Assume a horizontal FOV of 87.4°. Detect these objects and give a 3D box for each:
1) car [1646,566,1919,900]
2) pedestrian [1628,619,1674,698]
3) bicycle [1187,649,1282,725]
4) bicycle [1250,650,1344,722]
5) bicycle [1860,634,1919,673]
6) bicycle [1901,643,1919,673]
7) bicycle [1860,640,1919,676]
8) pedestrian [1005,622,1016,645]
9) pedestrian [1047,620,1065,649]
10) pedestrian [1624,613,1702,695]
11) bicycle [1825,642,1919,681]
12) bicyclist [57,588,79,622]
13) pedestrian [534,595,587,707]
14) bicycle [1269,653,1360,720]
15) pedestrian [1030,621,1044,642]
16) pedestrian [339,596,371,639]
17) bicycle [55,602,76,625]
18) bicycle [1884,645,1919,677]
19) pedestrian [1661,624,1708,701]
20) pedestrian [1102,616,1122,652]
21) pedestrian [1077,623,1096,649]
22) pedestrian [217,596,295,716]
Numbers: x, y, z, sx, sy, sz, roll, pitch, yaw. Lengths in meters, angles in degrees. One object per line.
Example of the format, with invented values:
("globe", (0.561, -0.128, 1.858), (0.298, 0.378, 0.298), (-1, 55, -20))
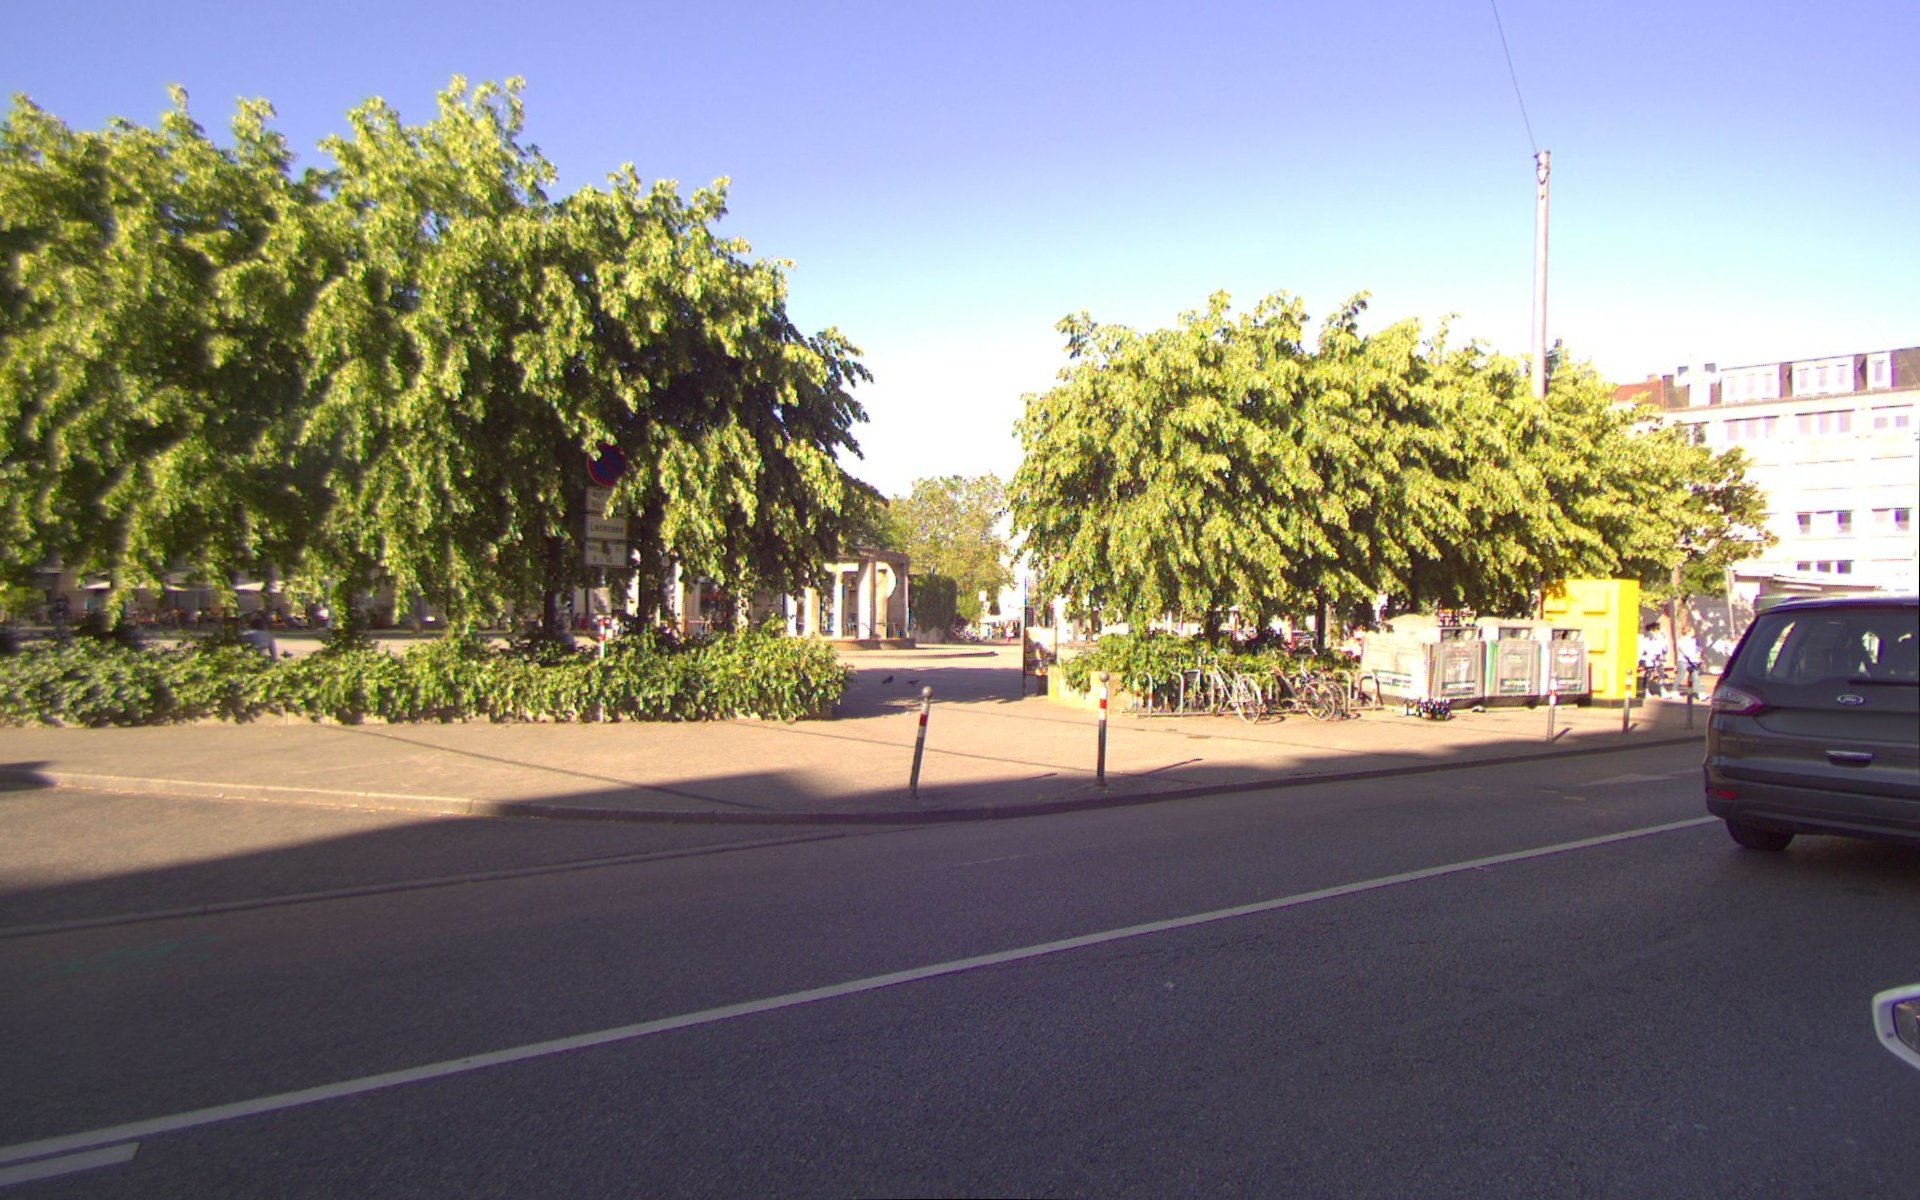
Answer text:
("car", (6.980, 0.771, 6.948), (4.675, 1.795, 1.983), (1, -2, -32))
("pedestrian", (15.541, 1.305, 22.596), (0.661, 1.751, 0.549), (1, -1, 1))
("bicycle", (4.217, 1.322, 15.542), (0.425, 1.031, 1.590), (1, 0, -28))
("bicycle", (5.386, 1.355, 16.125), (0.425, 1.036, 1.561), (1, -1, -28))
("bicycle", (34.481, 1.941, 36.518), (0.913, 1.341, 2.461), (1, -1, -35))
("bicycle", (38.678, 2.313, 39.504), (0.834, 1.171, 2.308), (1, -1, -34))
("bicycle", (33.121, 2.035, 35.029), (0.833, 1.171, 2.449), (1, -1, -31))
("pedestrian", (4.641, 3.072, 92.538), (0.886, 2.040, 1.286), (0, 0, 5))
("pedestrian", (6.930, 2.490, 72.402), (0.808, 2.040, 1.042), (1, -1, -42))
("pedestrian", (18.181, 1.365, 25.993), (0.890, 2.040, 1.398), (1, 0, -17))
("bicycle", (30.905, 2.054, 33.864), (0.833, 1.171, 2.493), (1, -1, -31))
("bicyclist", (-38.681, 0.218, 43.554), (0.668, 1.447, 0.690), (1, -1, -41))
("pedestrian", (-6.552, 0.827, 16.512), (0.725, 1.781, 0.895), (1, -1, -19))
("bicycle", (5.778, 1.388, 16.451), (0.425, 0.971, 1.518), (0, 0, -28))
("pedestrian", (7.803, 3.175, 102.167), (1.252, 2.040, 1.285), (1, -1, -4))
("pedestrian", (-25.253, 0.719, 41.949), (0.723, 1.781, 0.898), (1, -1, 29))
("bicycle", (-38.665, 0.580, 43.429), (0.584, 0.966, 1.885), (2, -2, -40))
("bicycle", (36.754, 2.325, 38.025), (0.834, 1.171, 2.517), (1, -1, -34))
("pedestrian", (16.268, 1.396, 22.564), (0.608, 1.684, 0.685), (1, -1, 12))
("pedestrian", (8.678, 1.919, 57.403), (0.913, 2.040, 1.184), (1, -1, -3))
("pedestrian", (10.153, 2.873, 80.802), (1.252, 2.040, 1.285), (1, -1, -4))
("pedestrian", (-10.842, 0.848, 15.495), (0.725, 1.781, 0.895), (1, -1, -19))
